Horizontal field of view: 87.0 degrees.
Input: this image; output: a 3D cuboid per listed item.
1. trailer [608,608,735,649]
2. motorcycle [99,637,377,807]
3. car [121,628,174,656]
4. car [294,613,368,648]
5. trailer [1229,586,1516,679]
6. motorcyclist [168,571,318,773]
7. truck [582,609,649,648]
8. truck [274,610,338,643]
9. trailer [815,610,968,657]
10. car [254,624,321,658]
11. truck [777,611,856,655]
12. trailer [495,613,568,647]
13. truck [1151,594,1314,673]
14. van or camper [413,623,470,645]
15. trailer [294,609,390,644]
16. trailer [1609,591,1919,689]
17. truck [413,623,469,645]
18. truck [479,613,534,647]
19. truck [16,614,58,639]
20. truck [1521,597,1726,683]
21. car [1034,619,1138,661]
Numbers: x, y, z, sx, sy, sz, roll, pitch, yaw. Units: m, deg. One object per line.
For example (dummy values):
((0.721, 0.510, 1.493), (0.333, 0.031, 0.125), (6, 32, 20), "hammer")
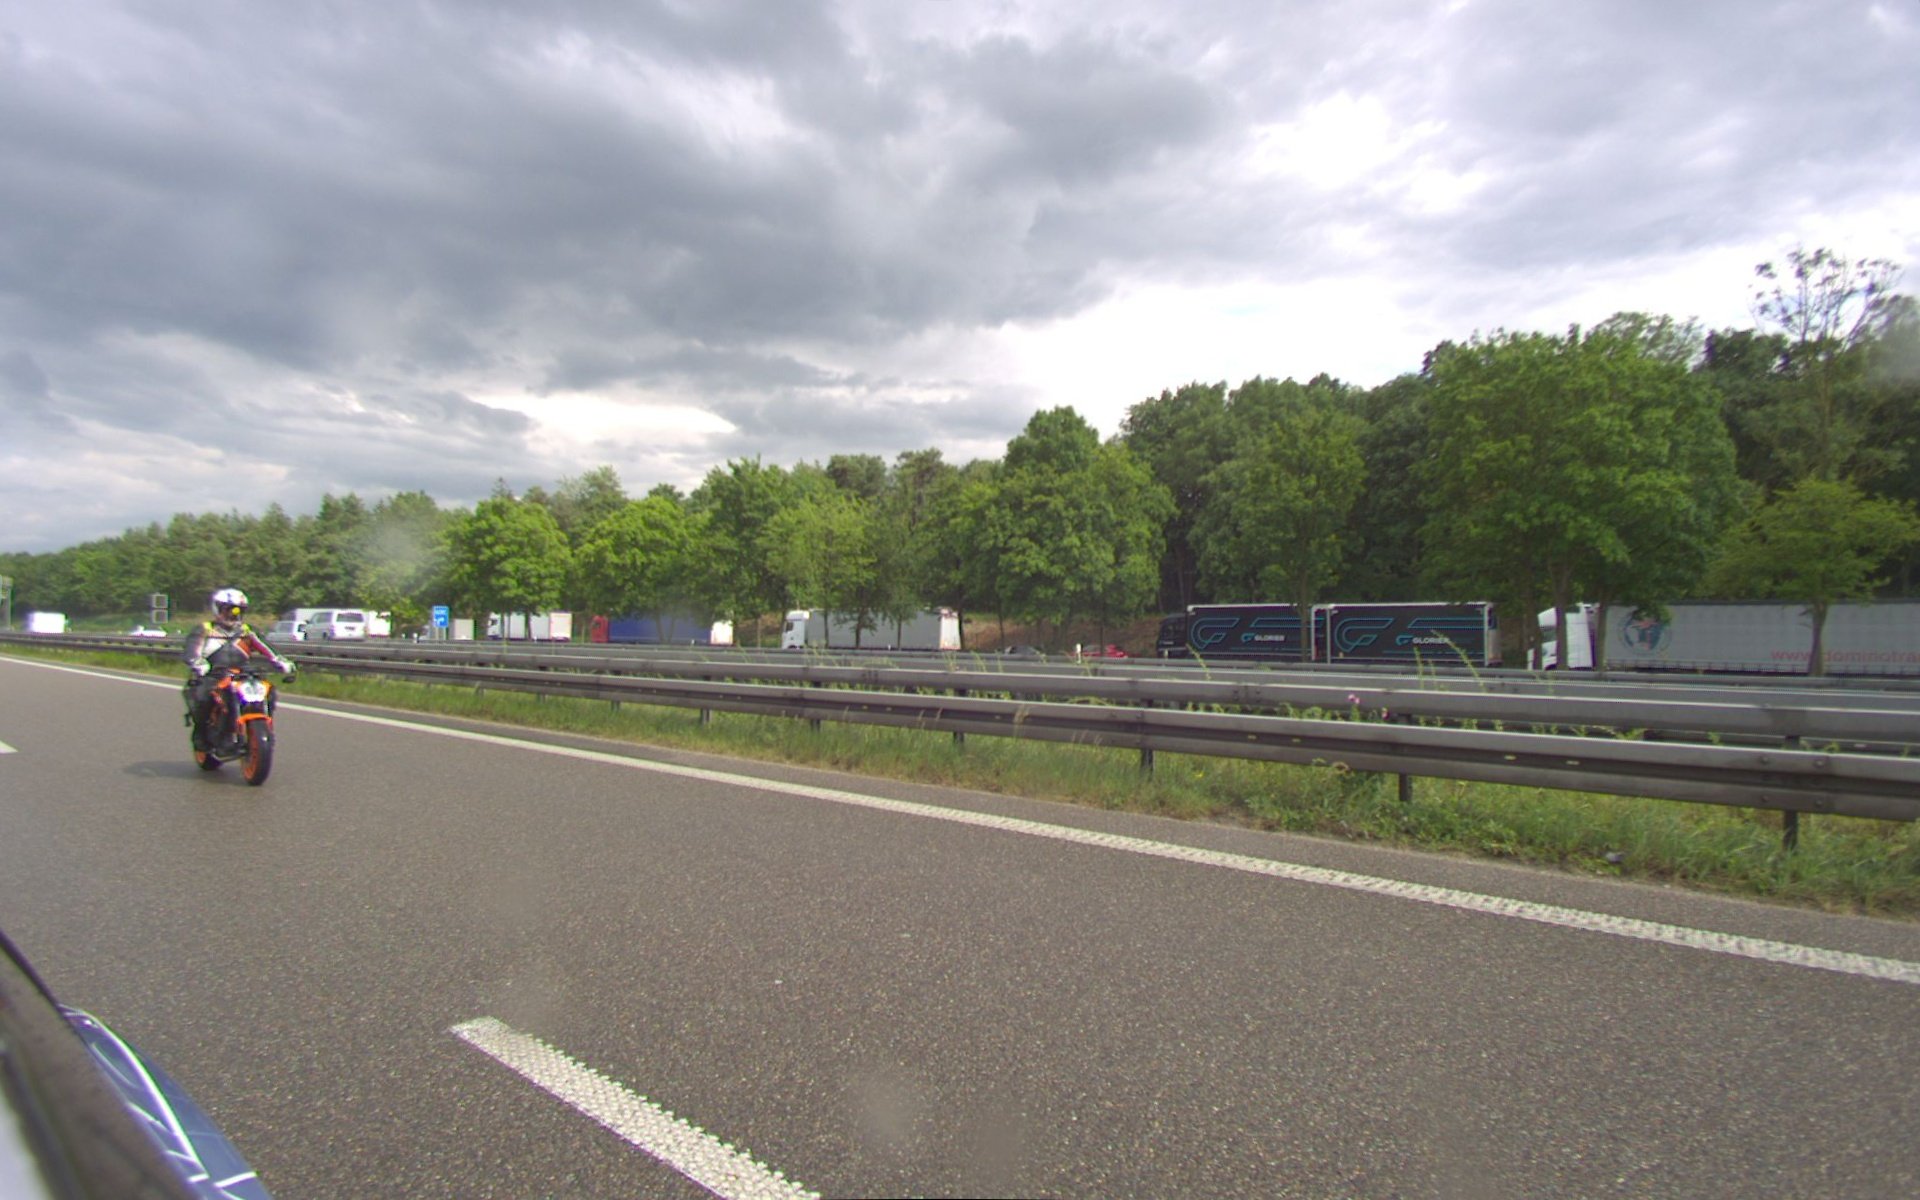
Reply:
((-25.738, 2.519, 89.783), (13.388, 3.431, 2.800), (-1, -2, 33), "trailer")
((-6.649, 0.991, 9.224), (3.189, 1.235, 1.174), (-1, 0, 37), "motorcycle")
((-58.947, 2.999, 73.365), (5.255, 1.905, 2.026), (-1, 0, 40), "car")
((-35.628, 1.687, 57.273), (5.255, 1.905, 2.026), (-1, 0, 40), "car")
((21.659, 1.720, 54.273), (13.795, 4.439, 3.749), (-1, -2, 42), "trailer")
((-6.579, 0.613, 9.285), (0.999, 1.719, 0.873), (-1, 0, 38), "motorcyclist")
((-31.978, 2.641, 93.948), (5.880, 3.482, 2.838), (-1, 0, 33), "truck")
((-76.178, 3.057, 117.907), (6.879, 3.732, 3.189), (-1, 0, 26), "truck")
((-5.284, 2.488, 75.559), (12.458, 3.241, 3.315), (-1, -2, 38), "trailer")
((-40.609, 2.431, 61.069), (5.255, 1.905, 2.026), (-1, 0, 40), "car")
((-11.449, 2.559, 80.416), (5.497, 3.298, 3.322), (-1, 0, 37), "truck")
((-42.488, 2.926, 100.318), (7.712, 3.257, 2.561), (-1, -2, 31), "trailer")
((15.859, 1.866, 59.321), (8.413, 4.266, 3.748), (-1, 0, 41), "truck")
((-55.234, 3.603, 107.784), (6.292, 2.282, 2.105), (-1, -1, 27), "van or camper")
((-70.301, 3.003, 115.003), (12.504, 3.767, 3.185), (-1, -2, 27), "trailer")
((34.935, 1.617, 41.731), (13.339, 3.677, 3.749), (-1, -2, 42), "trailer")
((-55.305, 3.604, 107.821), (6.287, 2.282, 2.105), (-1, -1, 27), "truck")
((-45.794, 2.979, 102.184), (5.066, 3.292, 2.636), (-1, 0, 30), "truck")
((-106.656, 3.021, 116.897), (7.188, 2.702, 2.813), (-1, 0, 41), "truck")
((30.080, 1.698, 46.049), (7.351, 3.616, 3.748), (-1, 0, 41), "truck")
((8.071, 2.539, 65.474), (6.207, 2.501, 2.764), (-1, 0, 41), "car")
